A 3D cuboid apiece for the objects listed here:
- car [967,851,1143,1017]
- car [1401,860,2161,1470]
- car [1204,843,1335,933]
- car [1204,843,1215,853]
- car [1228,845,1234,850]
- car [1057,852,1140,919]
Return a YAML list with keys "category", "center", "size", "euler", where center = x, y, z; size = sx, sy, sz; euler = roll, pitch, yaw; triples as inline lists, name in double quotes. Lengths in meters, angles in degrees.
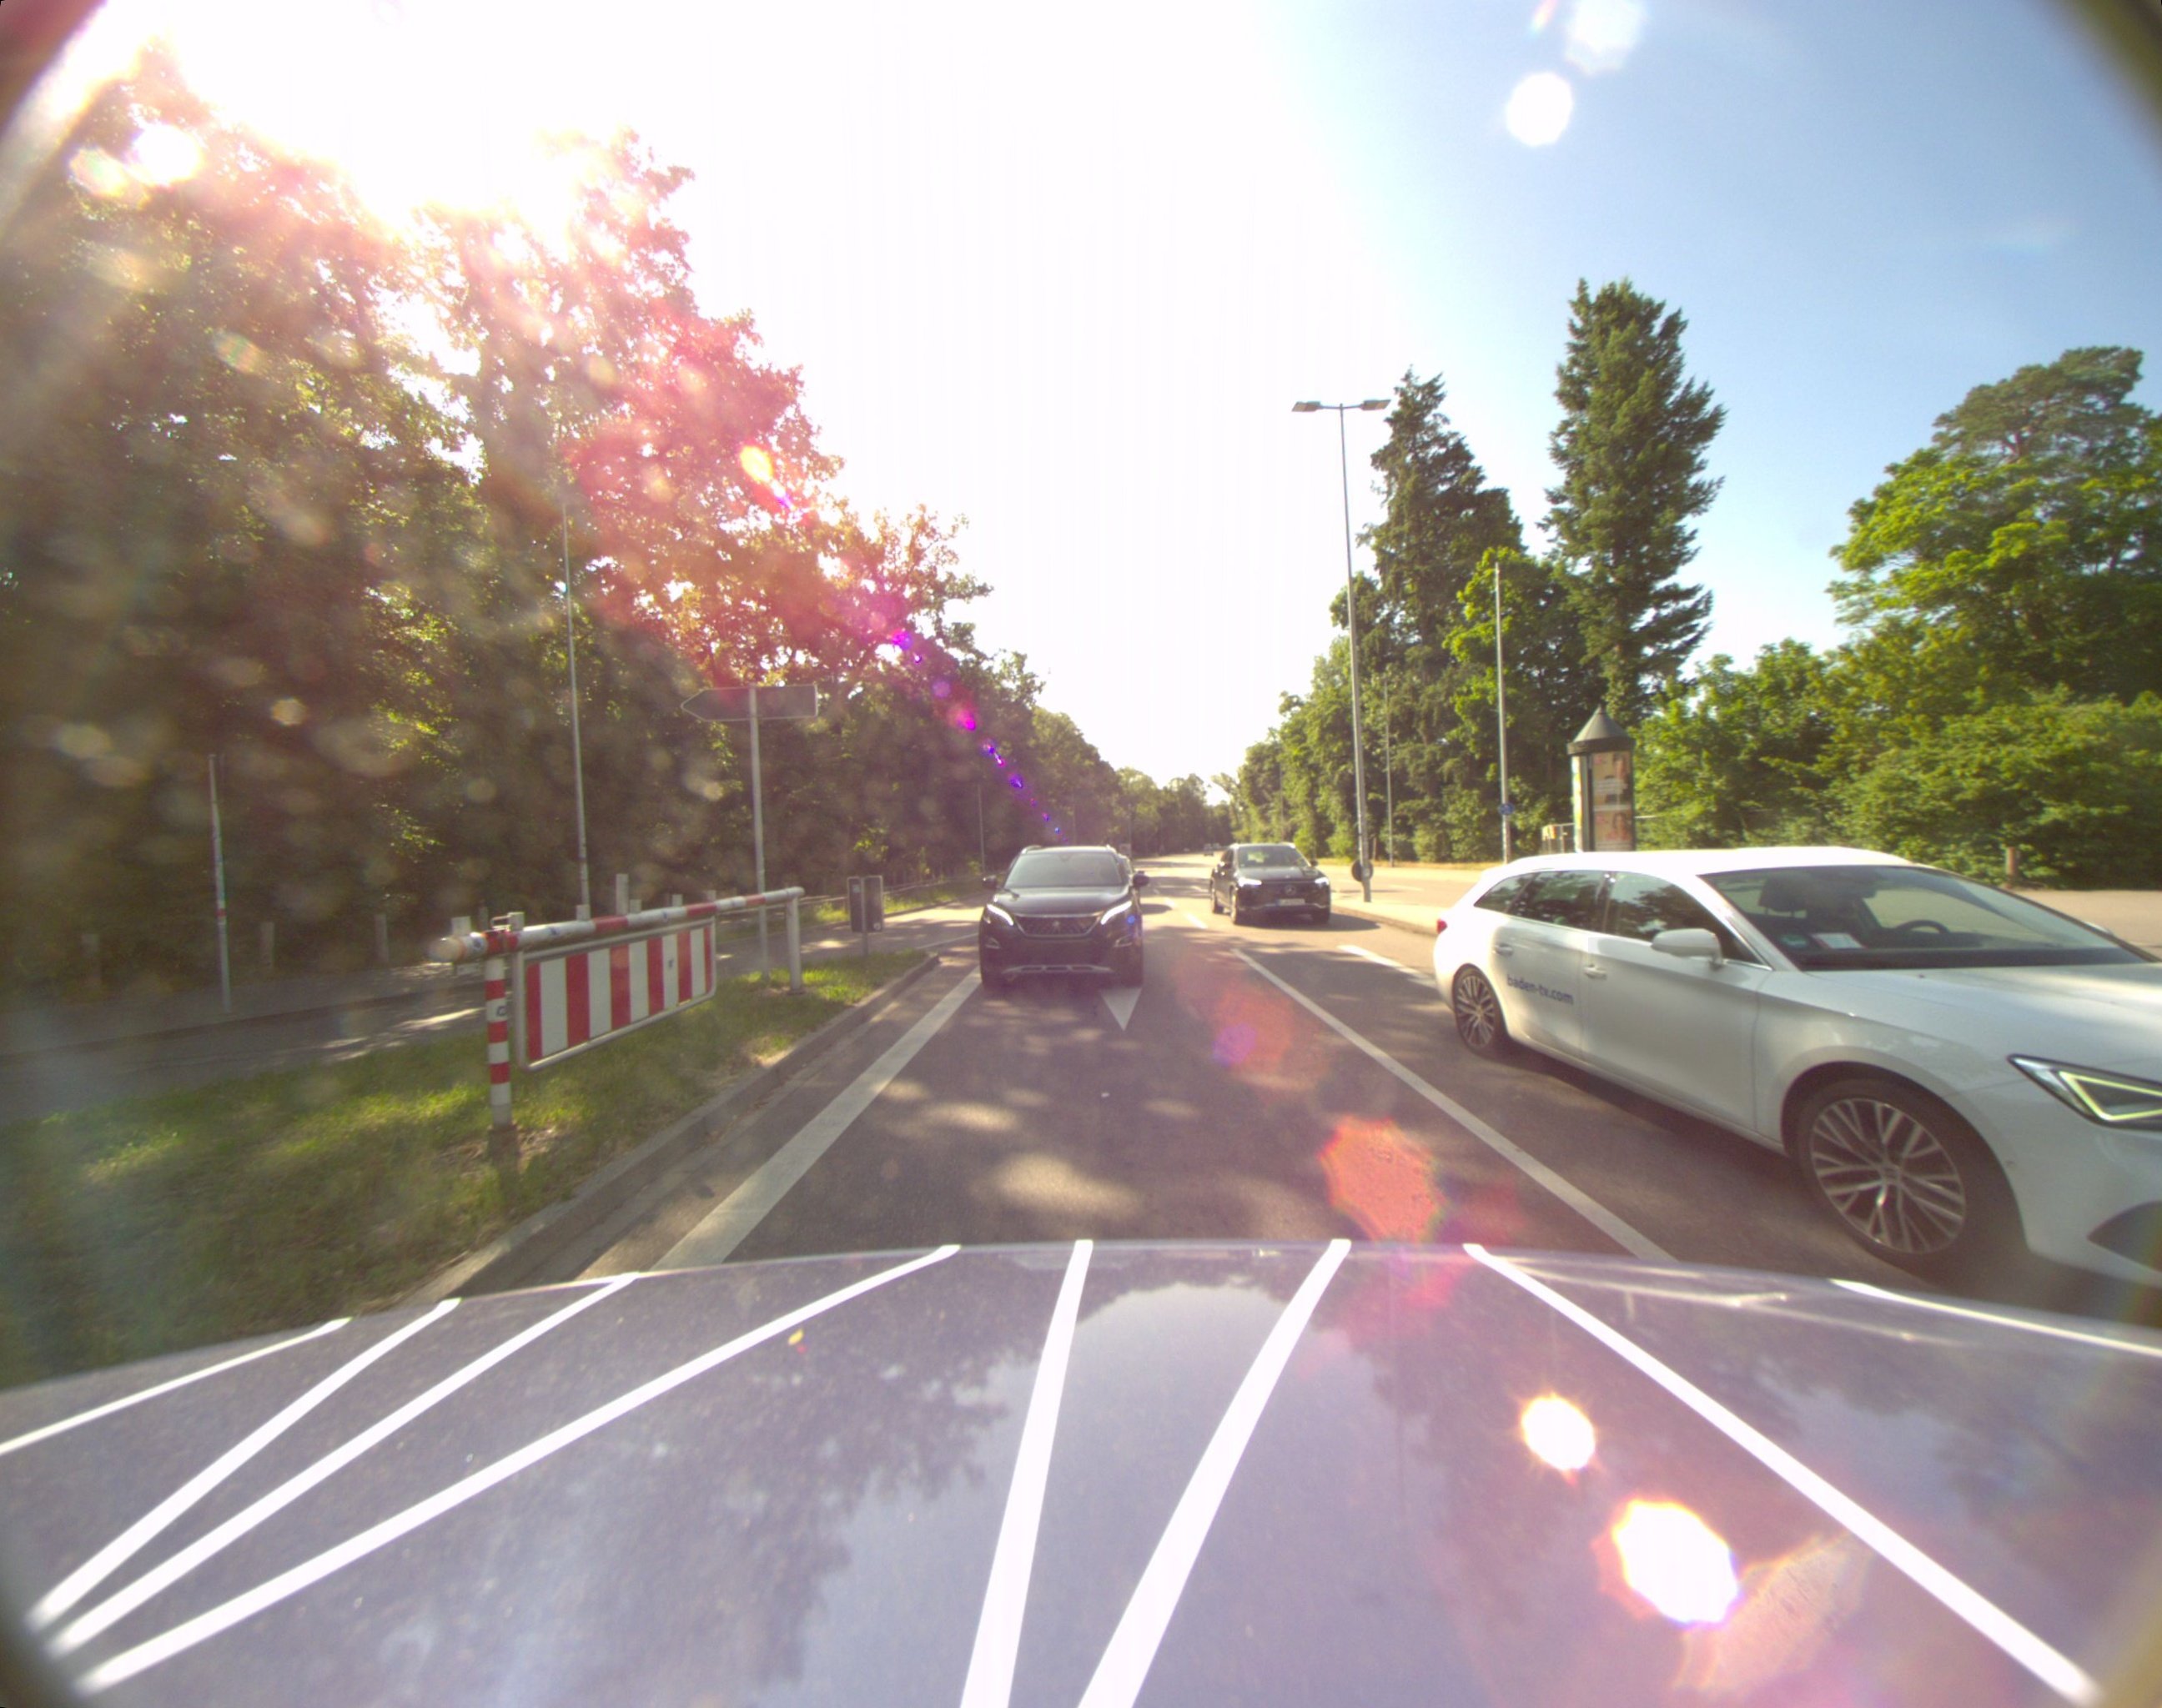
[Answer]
- category: "car"
  center: [-0.216, 0.798, 9.784]
  size: [1.702, 1.581, 4.319]
  euler: [-3, 0, 1]
- category: "car"
  center: [3.539, 0.799, 3.939]
  size: [1.729, 1.418, 4.719]
  euler: [-1, 0, 0]
- category: "car"
  center: [3.809, 0.594, 16.084]
  size: [1.809, 1.587, 4.272]
  euler: [-1, 1, 2]
- category: "car"
  center: [26.215, -1.266, 155.095]
  size: [1.876, 1.849, 4.002]
  euler: [-2, 1, 8]
- category: "car"
  center: [46.838, -2.062, 237.395]
  size: [1.855, 1.608, 4.003]
  euler: [-2, 0, 11]
- category: "car"
  center: [0.526, 0.746, 20.239]
  size: [1.932, 1.499, 4.000]
  euler: [-2, 1, 3]
